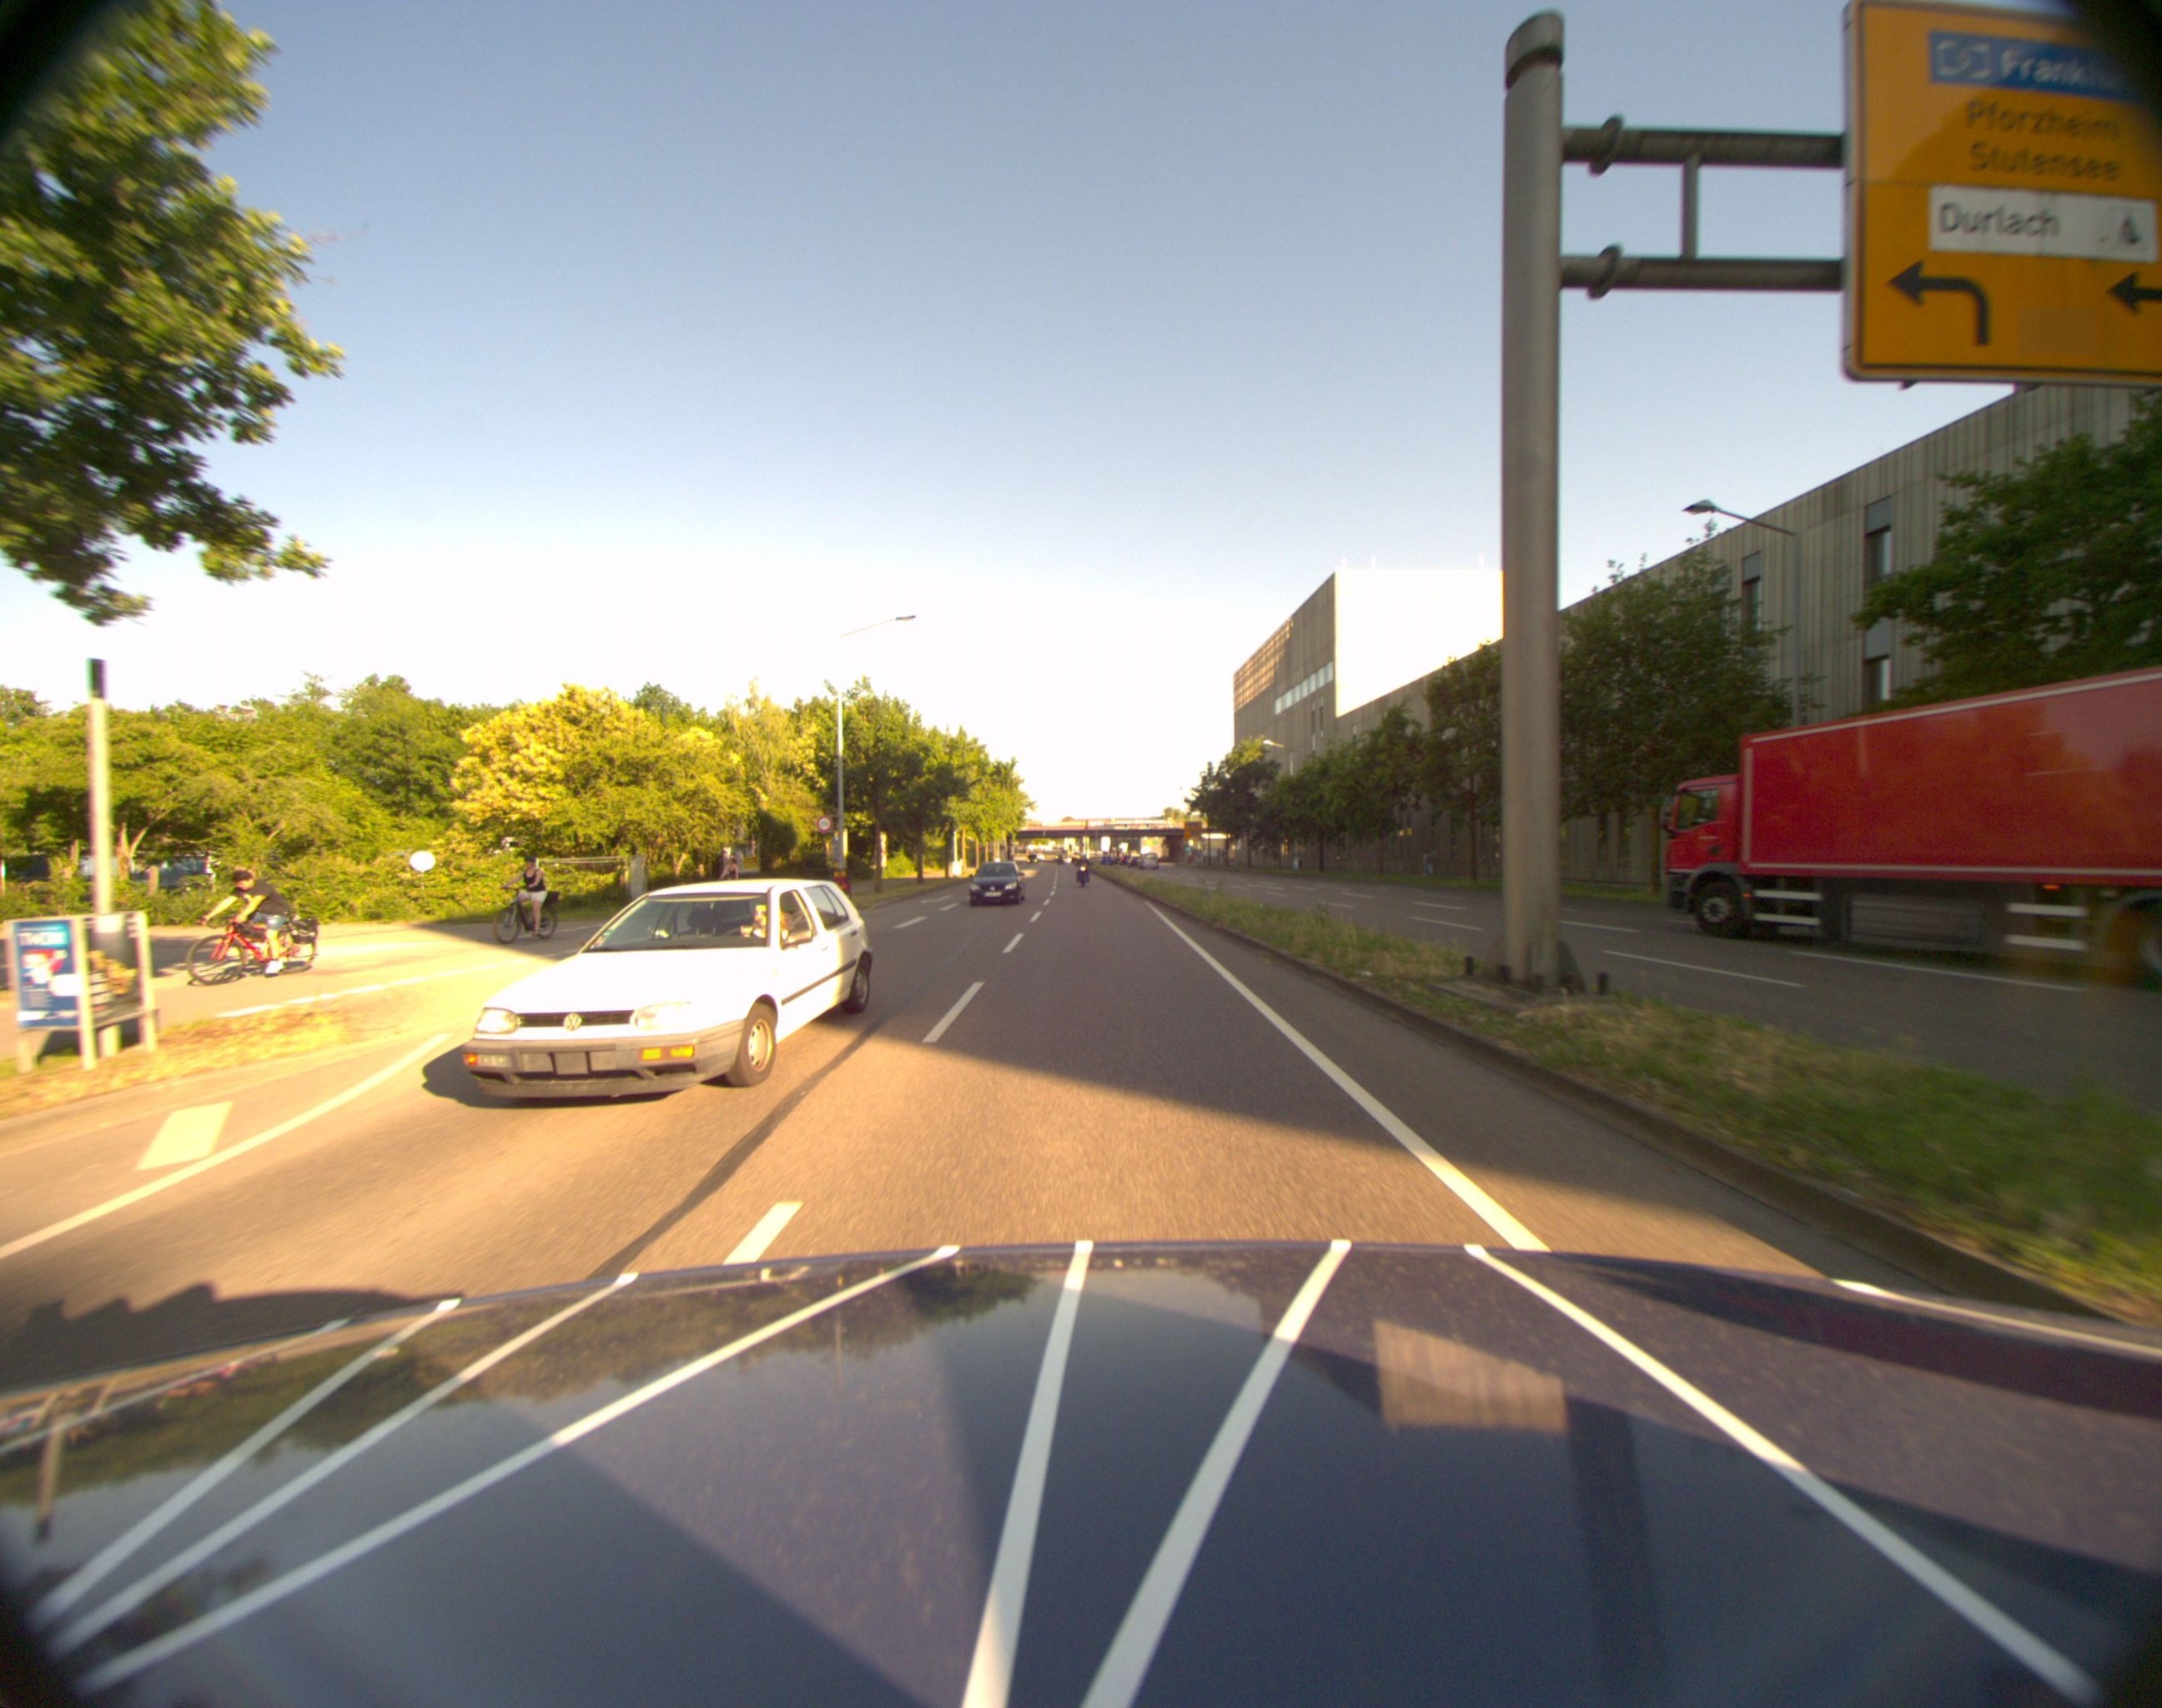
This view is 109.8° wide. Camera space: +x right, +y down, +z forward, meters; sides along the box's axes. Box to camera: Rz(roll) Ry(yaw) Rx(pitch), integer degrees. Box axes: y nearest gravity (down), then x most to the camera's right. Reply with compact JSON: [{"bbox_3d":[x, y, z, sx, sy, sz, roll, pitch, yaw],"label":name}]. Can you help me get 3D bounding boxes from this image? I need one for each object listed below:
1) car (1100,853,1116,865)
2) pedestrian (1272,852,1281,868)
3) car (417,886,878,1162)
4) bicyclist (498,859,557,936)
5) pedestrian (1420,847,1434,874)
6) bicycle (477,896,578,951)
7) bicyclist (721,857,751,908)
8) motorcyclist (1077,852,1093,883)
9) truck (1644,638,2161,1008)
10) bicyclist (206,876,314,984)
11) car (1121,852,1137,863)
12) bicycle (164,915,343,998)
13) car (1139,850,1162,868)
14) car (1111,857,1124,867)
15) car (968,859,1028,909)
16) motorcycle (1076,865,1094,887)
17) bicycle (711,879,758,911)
[{"bbox_3d":[3.537,0.620,101.037,1.841,1.510,3.951,0,0,-2],"label":"car"},{"bbox_3d":[19.974,0.643,77.535,0.698,1.619,0.725,-1,1,-2],"label":"pedestrian"},{"bbox_3d":[-3.058,1.072,6.445,1.615,1.390,4.037,-1,0,-1],"label":"car"},{"bbox_3d":[-11.785,0.912,16.207,0.605,1.569,0.848,-1,1,0],"label":"bicyclist"},{"bbox_3d":[22.950,0.426,50.388,0.604,1.757,0.649,-1,1,0],"label":"pedestrian"},{"bbox_3d":[-11.781,1.441,16.256,0.618,0.968,2.058,-1,0,0],"label":"bicycle"},{"bbox_3d":[-11.799,0.958,26.000,0.605,1.723,0.848,-1,1,0],"label":"bicyclist"},{"bbox_3d":[0.178,0.640,37.180,0.735,1.503,0.918,0,1,-3],"label":"motorcyclist"},{"bbox_3d":[12.519,-0.342,9.630,3.006,3.789,10.086,-1,0,-2],"label":"truck"},{"bbox_3d":[-12.074,1.095,11.199,0.614,1.493,0.848,-1,1,0],"label":"bicyclist"},{"bbox_3d":[6.578,0.514,104.350,1.930,1.510,3.999,0,0,-1],"label":"car"},{"bbox_3d":[-12.069,1.458,11.183,0.618,0.968,1.821,-1,0,0],"label":"bicycle"},{"bbox_3d":[7.304,0.474,79.907,1.999,1.805,4.400,0,0,0],"label":"car"},{"bbox_3d":[5.665,1.202,118.485,1.696,1.425,3.771,0,0,-1],"label":"car"},{"bbox_3d":[-2.785,0.960,26.254,1.726,1.490,4.212,-2,0,-3],"label":"car"},{"bbox_3d":[0.195,1.044,36.957,0.749,0.977,2.139,-1,1,-3],"label":"motorcycle"},{"bbox_3d":[-11.793,1.379,25.907,0.618,0.968,2.058,-1,0,0],"label":"bicycle"}]
